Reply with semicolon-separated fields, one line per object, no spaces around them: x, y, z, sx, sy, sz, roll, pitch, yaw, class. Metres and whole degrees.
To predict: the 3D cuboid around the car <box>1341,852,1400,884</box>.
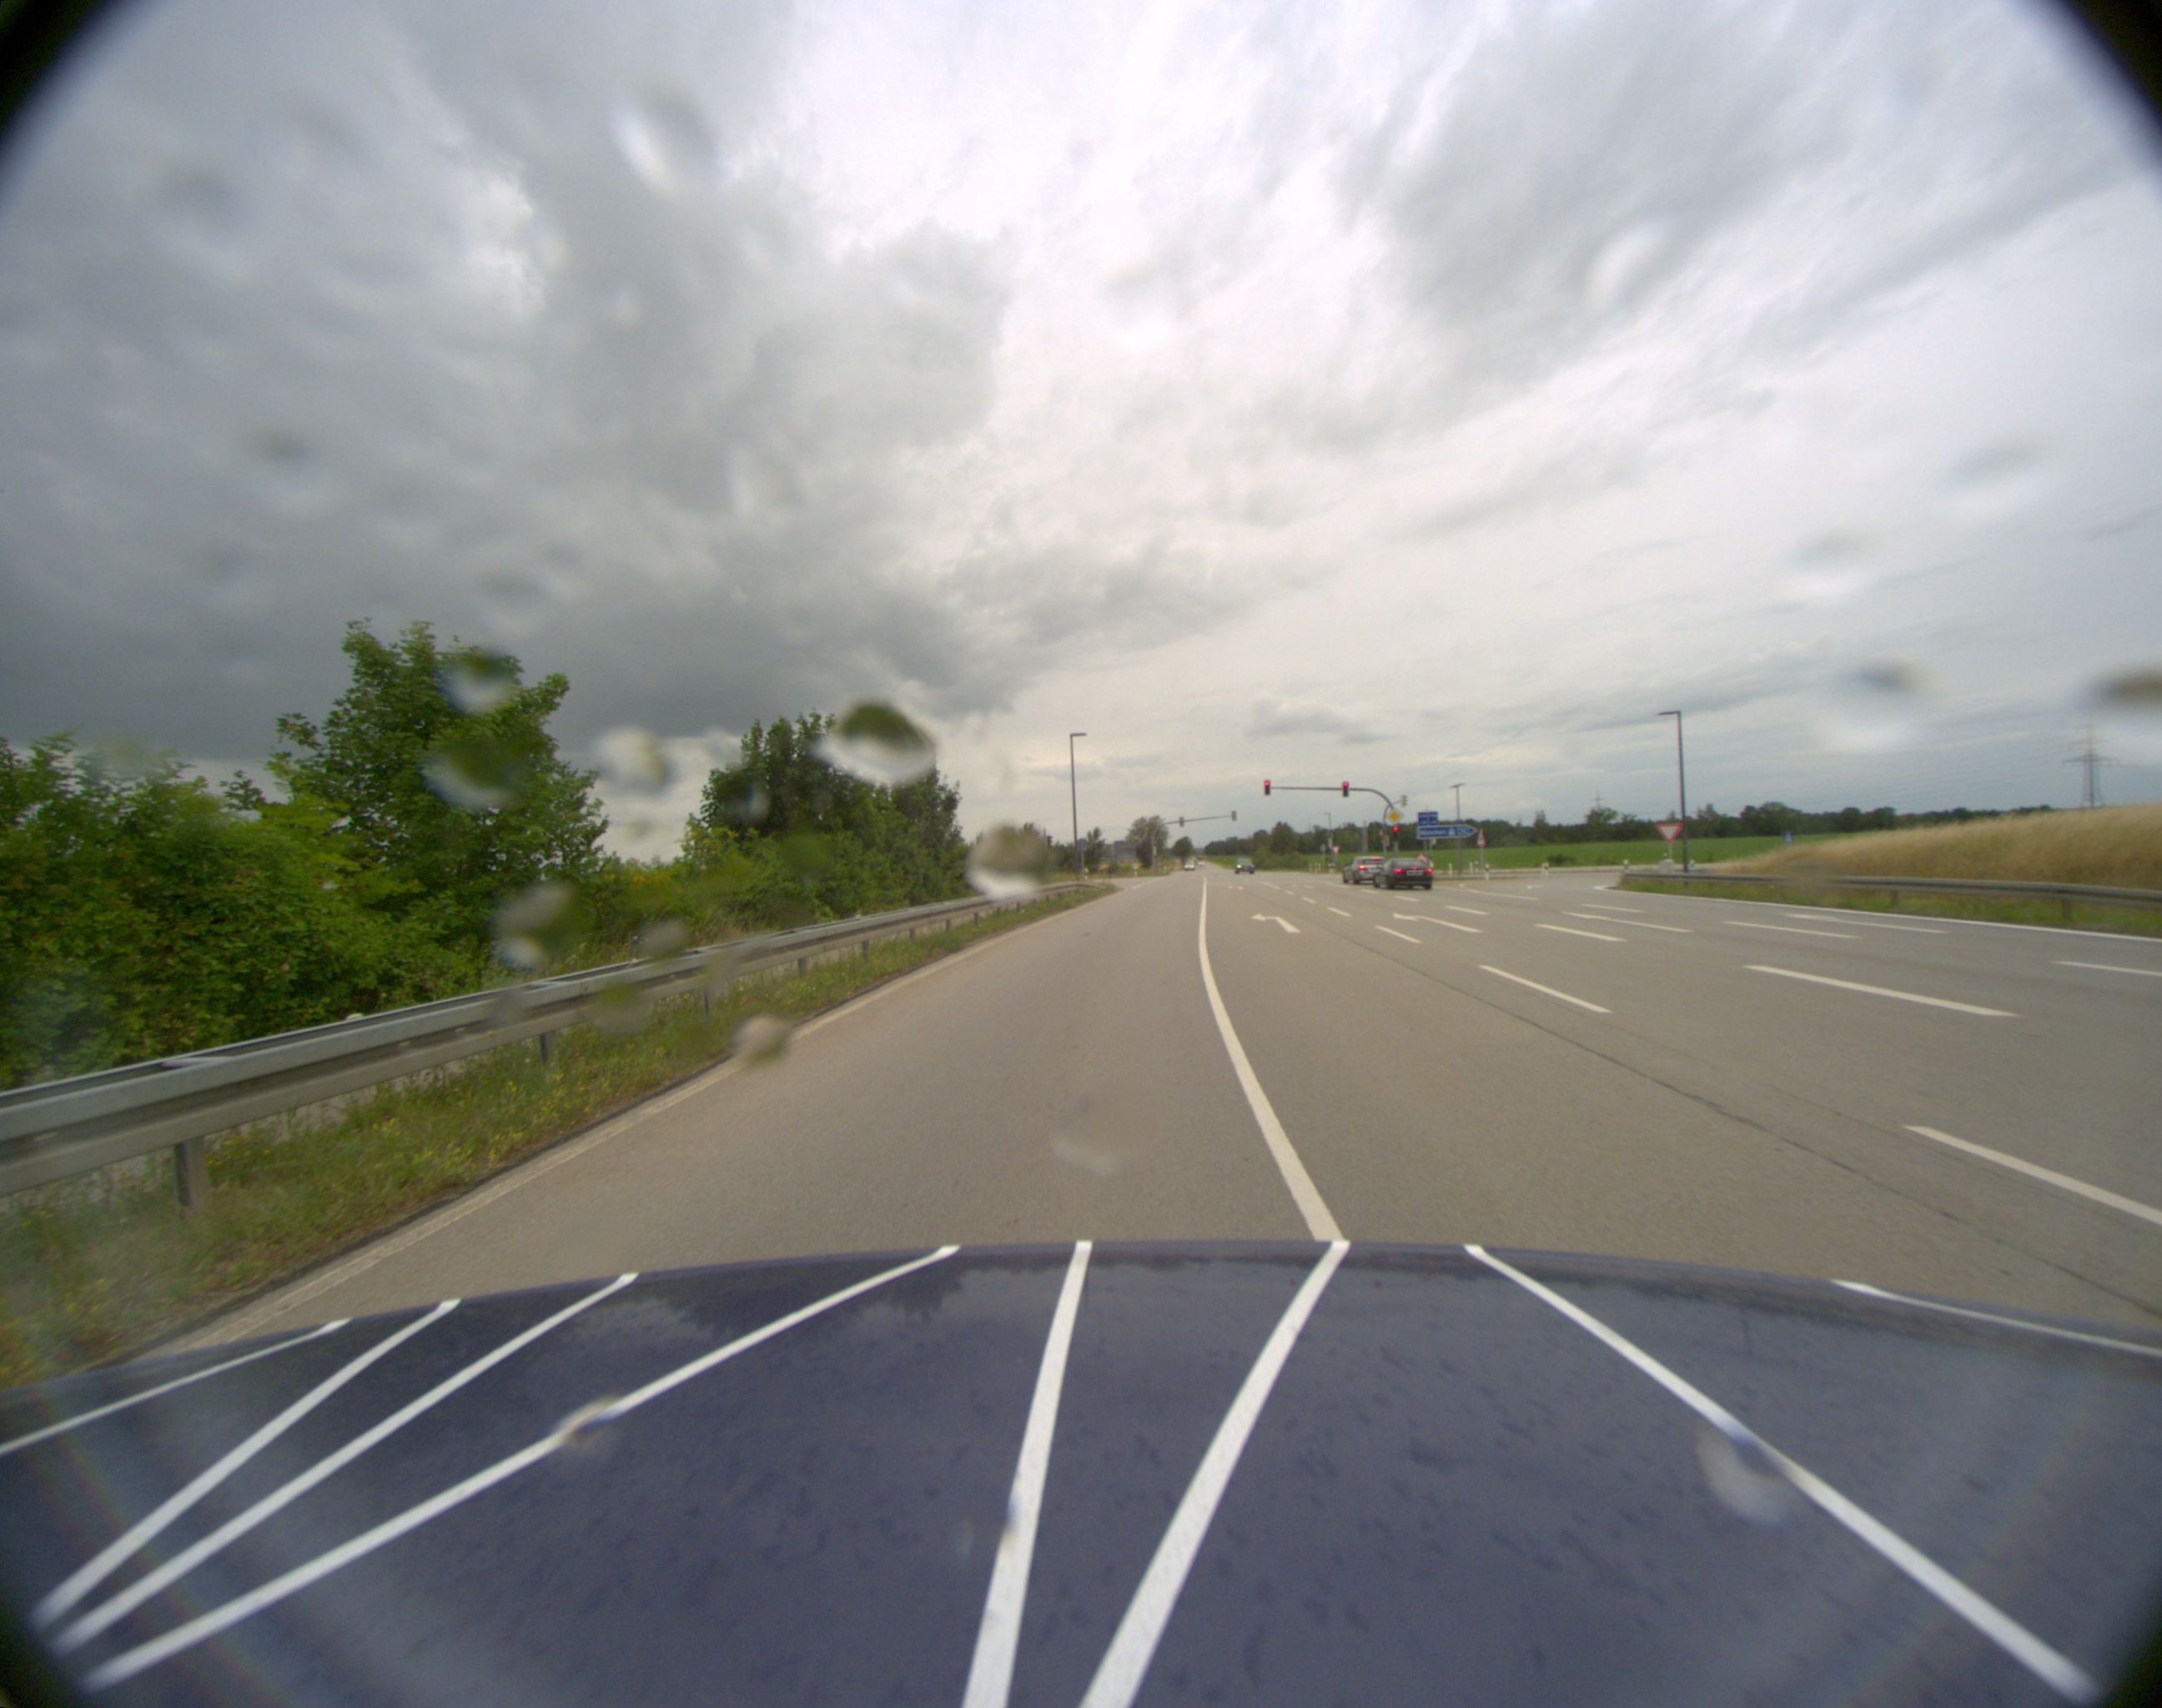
15.429;0.713;40.788;1.918;1.601;4.952;0;0;8;car

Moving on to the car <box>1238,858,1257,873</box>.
19.254;1.304;87.846;1.996;1.674;5.004;-2;-1;13;car

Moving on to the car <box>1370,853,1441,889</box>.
14.285;0.700;33.686;1.710;1.402;4.677;-2;0;8;car
